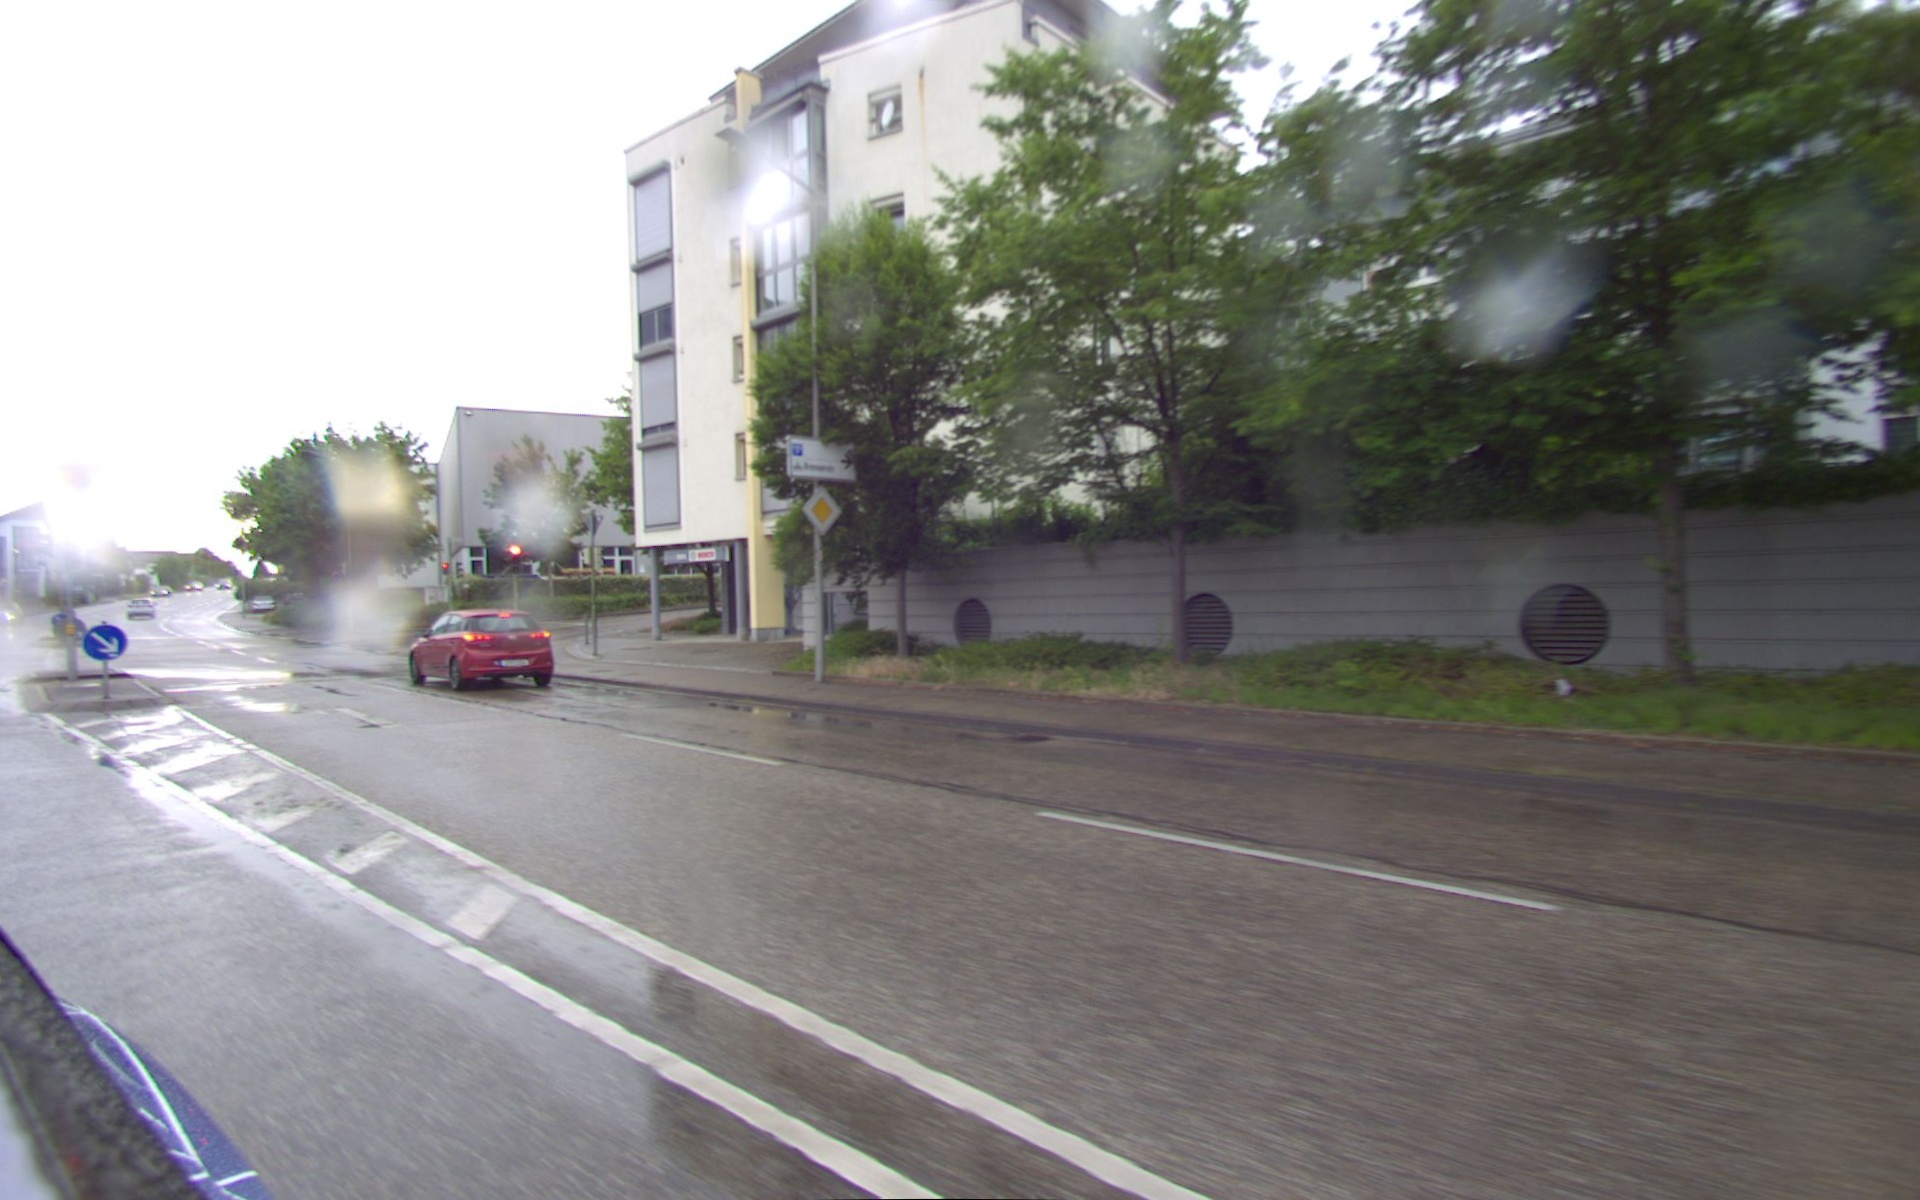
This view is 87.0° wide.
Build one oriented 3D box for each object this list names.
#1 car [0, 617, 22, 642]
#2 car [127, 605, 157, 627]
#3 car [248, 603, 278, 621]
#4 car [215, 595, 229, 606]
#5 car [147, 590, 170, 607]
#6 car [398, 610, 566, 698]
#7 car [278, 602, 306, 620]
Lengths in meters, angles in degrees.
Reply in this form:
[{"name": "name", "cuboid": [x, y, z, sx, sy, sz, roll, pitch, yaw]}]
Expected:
[{"name": "car", "cuboid": [-62.354, 1.918, 65.615, 1.869, 1.556, 4.029, -3, 1, -38]}, {"name": "car", "cuboid": [-65.187, 1.226, 80.721, 1.667, 1.566, 3.915, -4, 3, -37]}, {"name": "car", "cuboid": [-61.004, 1.056, 88.631, 1.708, 1.489, 4.033, -3, 1, -30]}, {"name": "car", "cuboid": [-121.496, 0.043, 166.635, 1.800, 1.700, 4.010, -1, 0, -34]}, {"name": "car", "cuboid": [-106.014, -0.159, 133.873, 1.968, 2.028, 4.010, -6, 4, -34]}, {"name": "car", "cuboid": [-9.356, 0.975, 19.667, 1.754, 1.518, 4.108, 2, -2, -43]}, {"name": "car", "cuboid": [-59.515, 0.938, 90.191, 1.708, 1.489, 4.033, -3, 1, -30]}]
